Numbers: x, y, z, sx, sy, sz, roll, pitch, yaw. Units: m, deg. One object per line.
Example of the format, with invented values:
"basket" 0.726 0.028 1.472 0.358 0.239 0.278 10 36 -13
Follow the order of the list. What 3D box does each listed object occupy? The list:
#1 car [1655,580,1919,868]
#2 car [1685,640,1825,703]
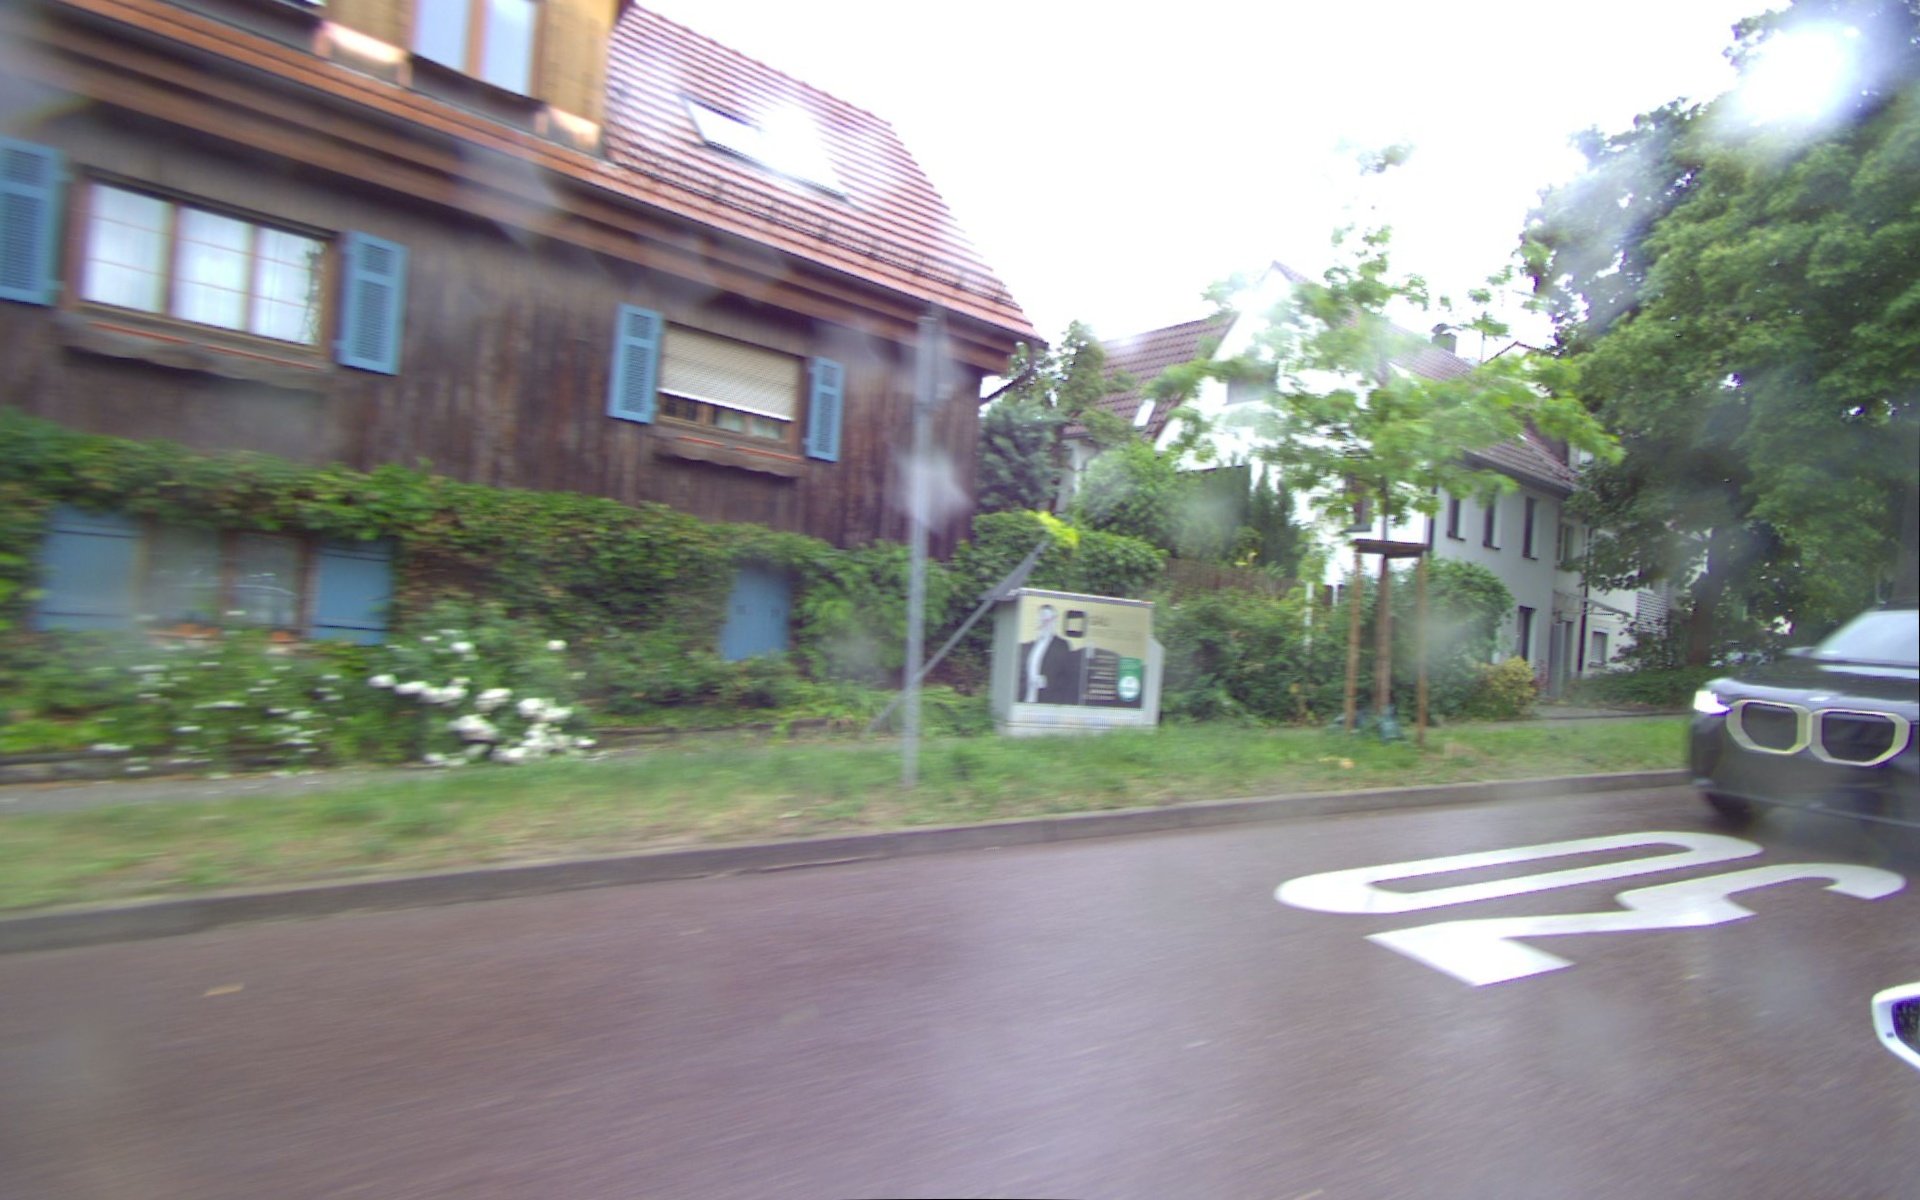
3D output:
"car" 7.120 0.754 7.093 4.086 1.637 1.881 2 1 -26
"car" 19.967 1.740 25.211 3.416 1.347 1.978 2 1 -38
